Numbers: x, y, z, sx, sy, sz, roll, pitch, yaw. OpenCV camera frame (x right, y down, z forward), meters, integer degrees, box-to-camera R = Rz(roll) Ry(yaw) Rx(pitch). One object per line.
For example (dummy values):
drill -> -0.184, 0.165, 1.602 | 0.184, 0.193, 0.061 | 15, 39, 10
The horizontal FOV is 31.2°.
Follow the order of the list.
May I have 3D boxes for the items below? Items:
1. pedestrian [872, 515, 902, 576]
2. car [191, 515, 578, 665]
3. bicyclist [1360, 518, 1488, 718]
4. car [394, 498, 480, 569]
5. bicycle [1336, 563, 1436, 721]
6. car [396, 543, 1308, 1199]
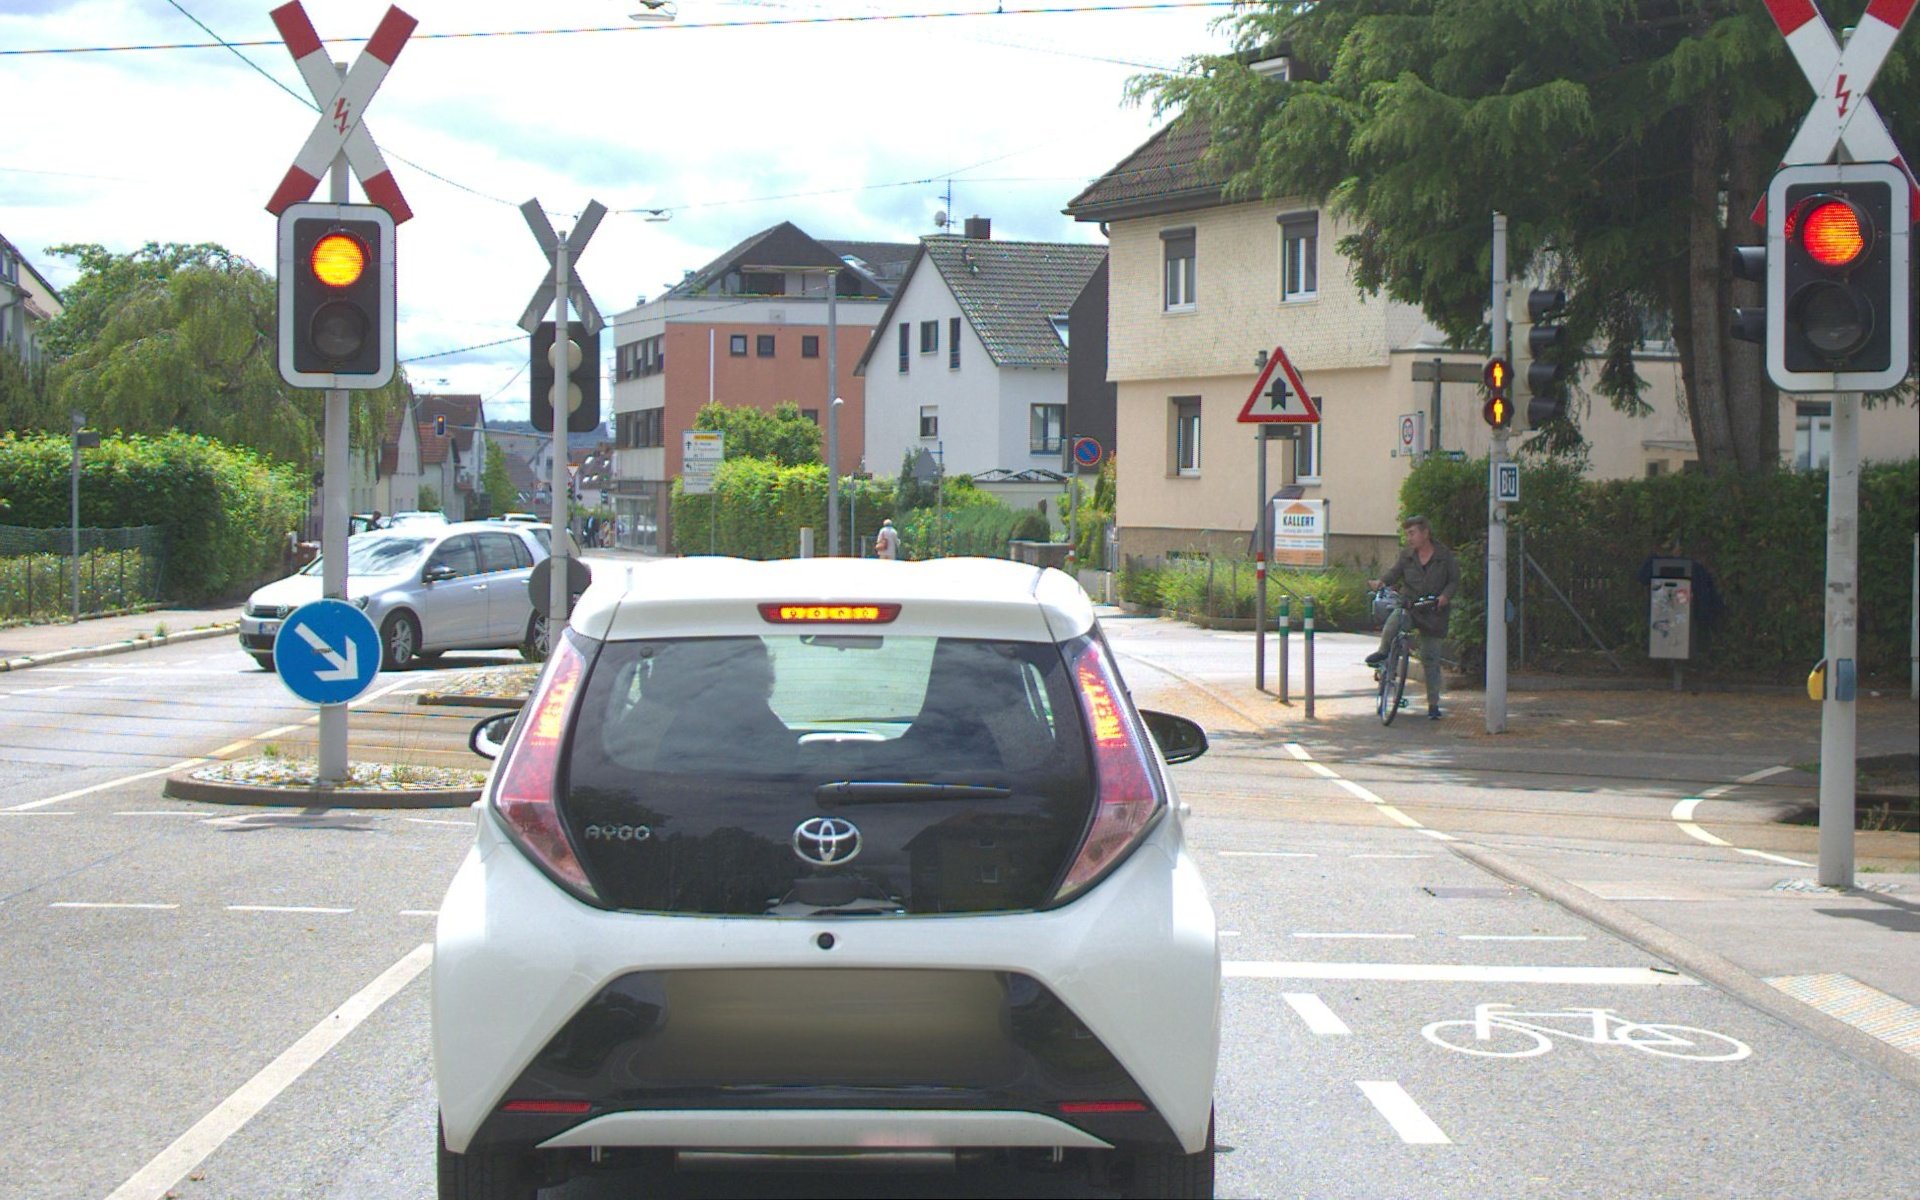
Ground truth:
pedestrian -> -1.923, -1.429, 90.149 | 0.726, 1.571, 0.803 | 2, 1, -1
car -> -5.989, -0.118, 36.239 | 1.908, 1.436, 4.092 | 2, 1, 28
bicyclist -> 3.766, 0.134, 27.947 | 0.840, 1.548, 0.756 | -2, 4, -6
car -> -13.273, -1.698, 87.438 | 1.993, 1.713, 4.001 | 2, 1, -7
bicycle -> 3.472, 0.326, 28.092 | 0.457, 1.168, 1.480 | -2, 4, -6
car -> -0.334, 0.611, 8.471 | 1.721, 1.437, 3.709 | 2, 1, -4
